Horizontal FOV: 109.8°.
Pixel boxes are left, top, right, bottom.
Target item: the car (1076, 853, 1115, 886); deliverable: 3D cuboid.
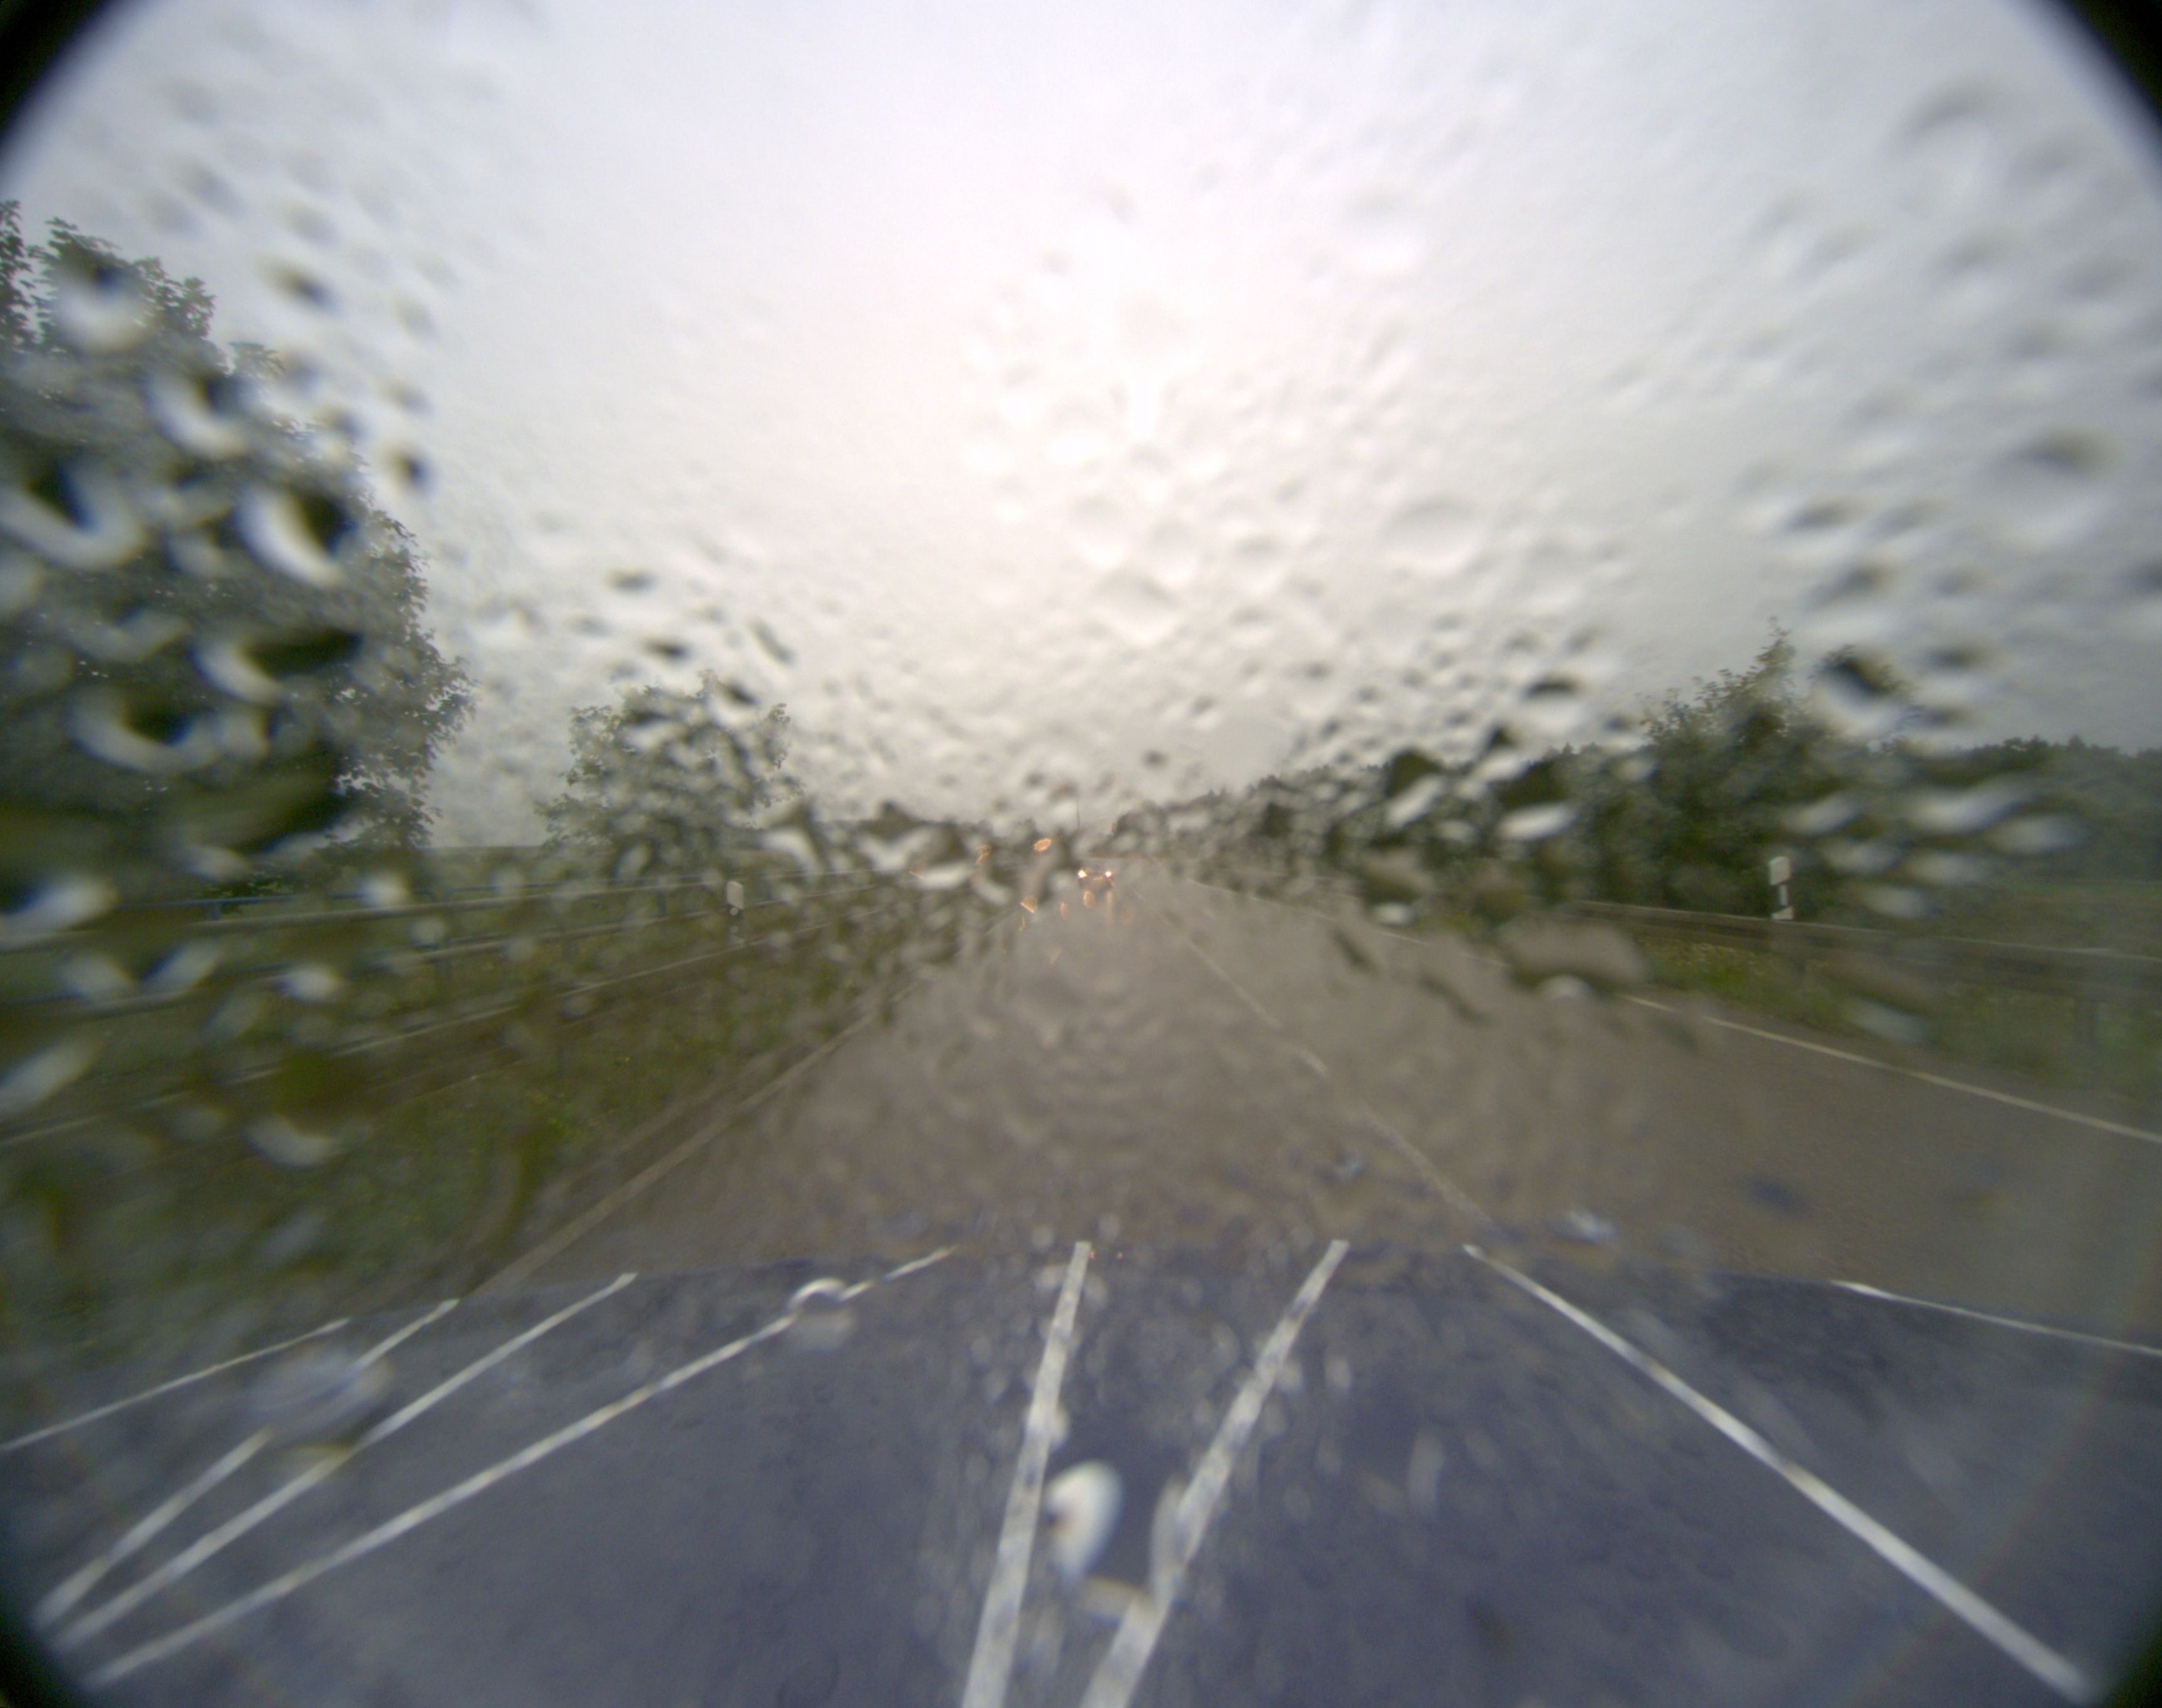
[{"bbox_3d":[0.795,0.762,39.092,1.819,1.382,4.068,-3,2,3],"label":"car"}]
